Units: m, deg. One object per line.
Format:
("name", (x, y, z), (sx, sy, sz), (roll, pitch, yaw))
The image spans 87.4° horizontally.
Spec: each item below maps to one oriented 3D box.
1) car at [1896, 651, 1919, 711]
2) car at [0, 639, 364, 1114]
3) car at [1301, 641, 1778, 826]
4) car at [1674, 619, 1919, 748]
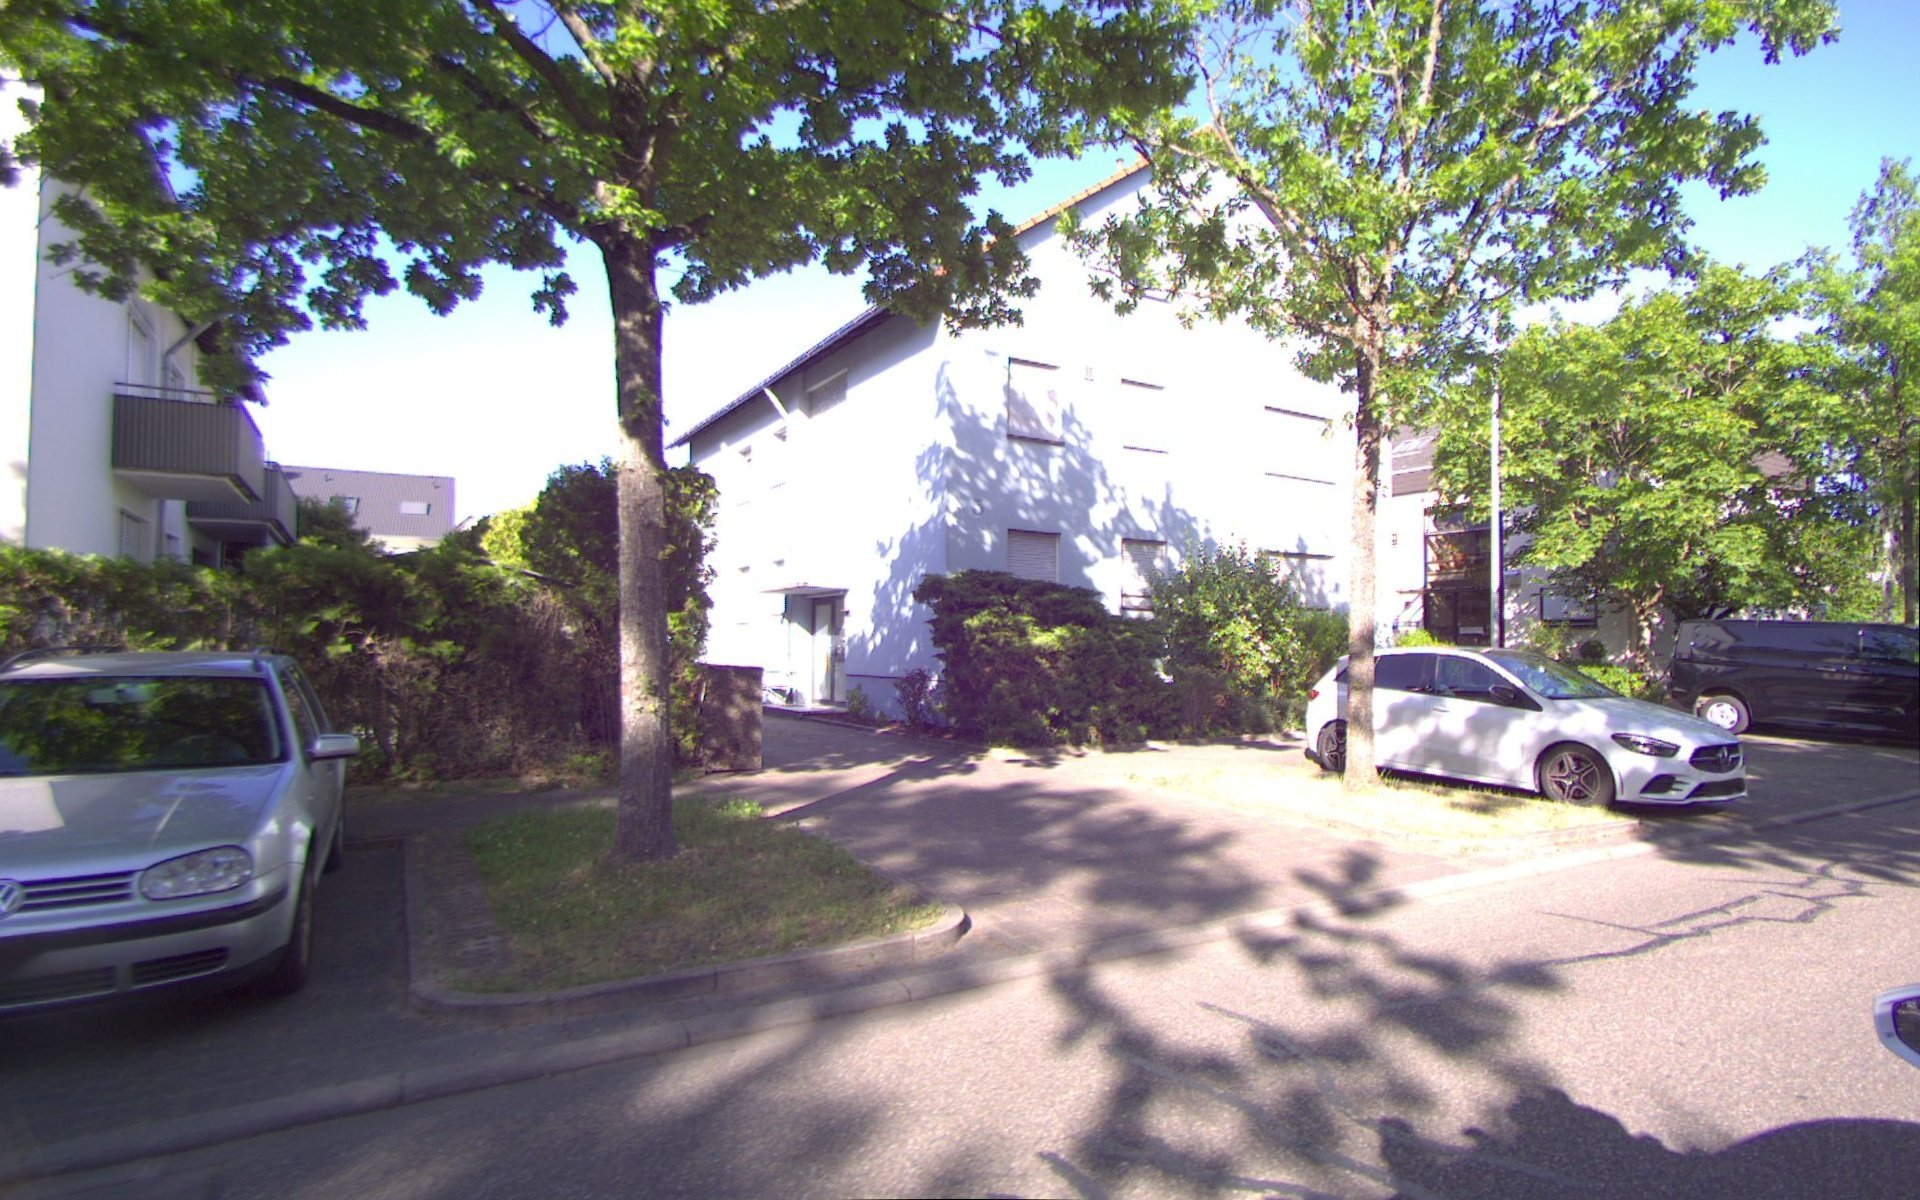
("car", (24.456, 1.897, 23.207), (1.752, 1.438, 3.800), (2, -3, -31))
("car", (-4.103, 0.987, 5.184), (1.627, 1.511, 4.164), (2, -2, -29))
("car", (6.015, 1.250, 11.004), (1.747, 1.497, 4.257), (1, -1, -29))
("car", (14.814, 1.290, 16.423), (1.996, 1.942, 4.754), (1, -2, -31))
